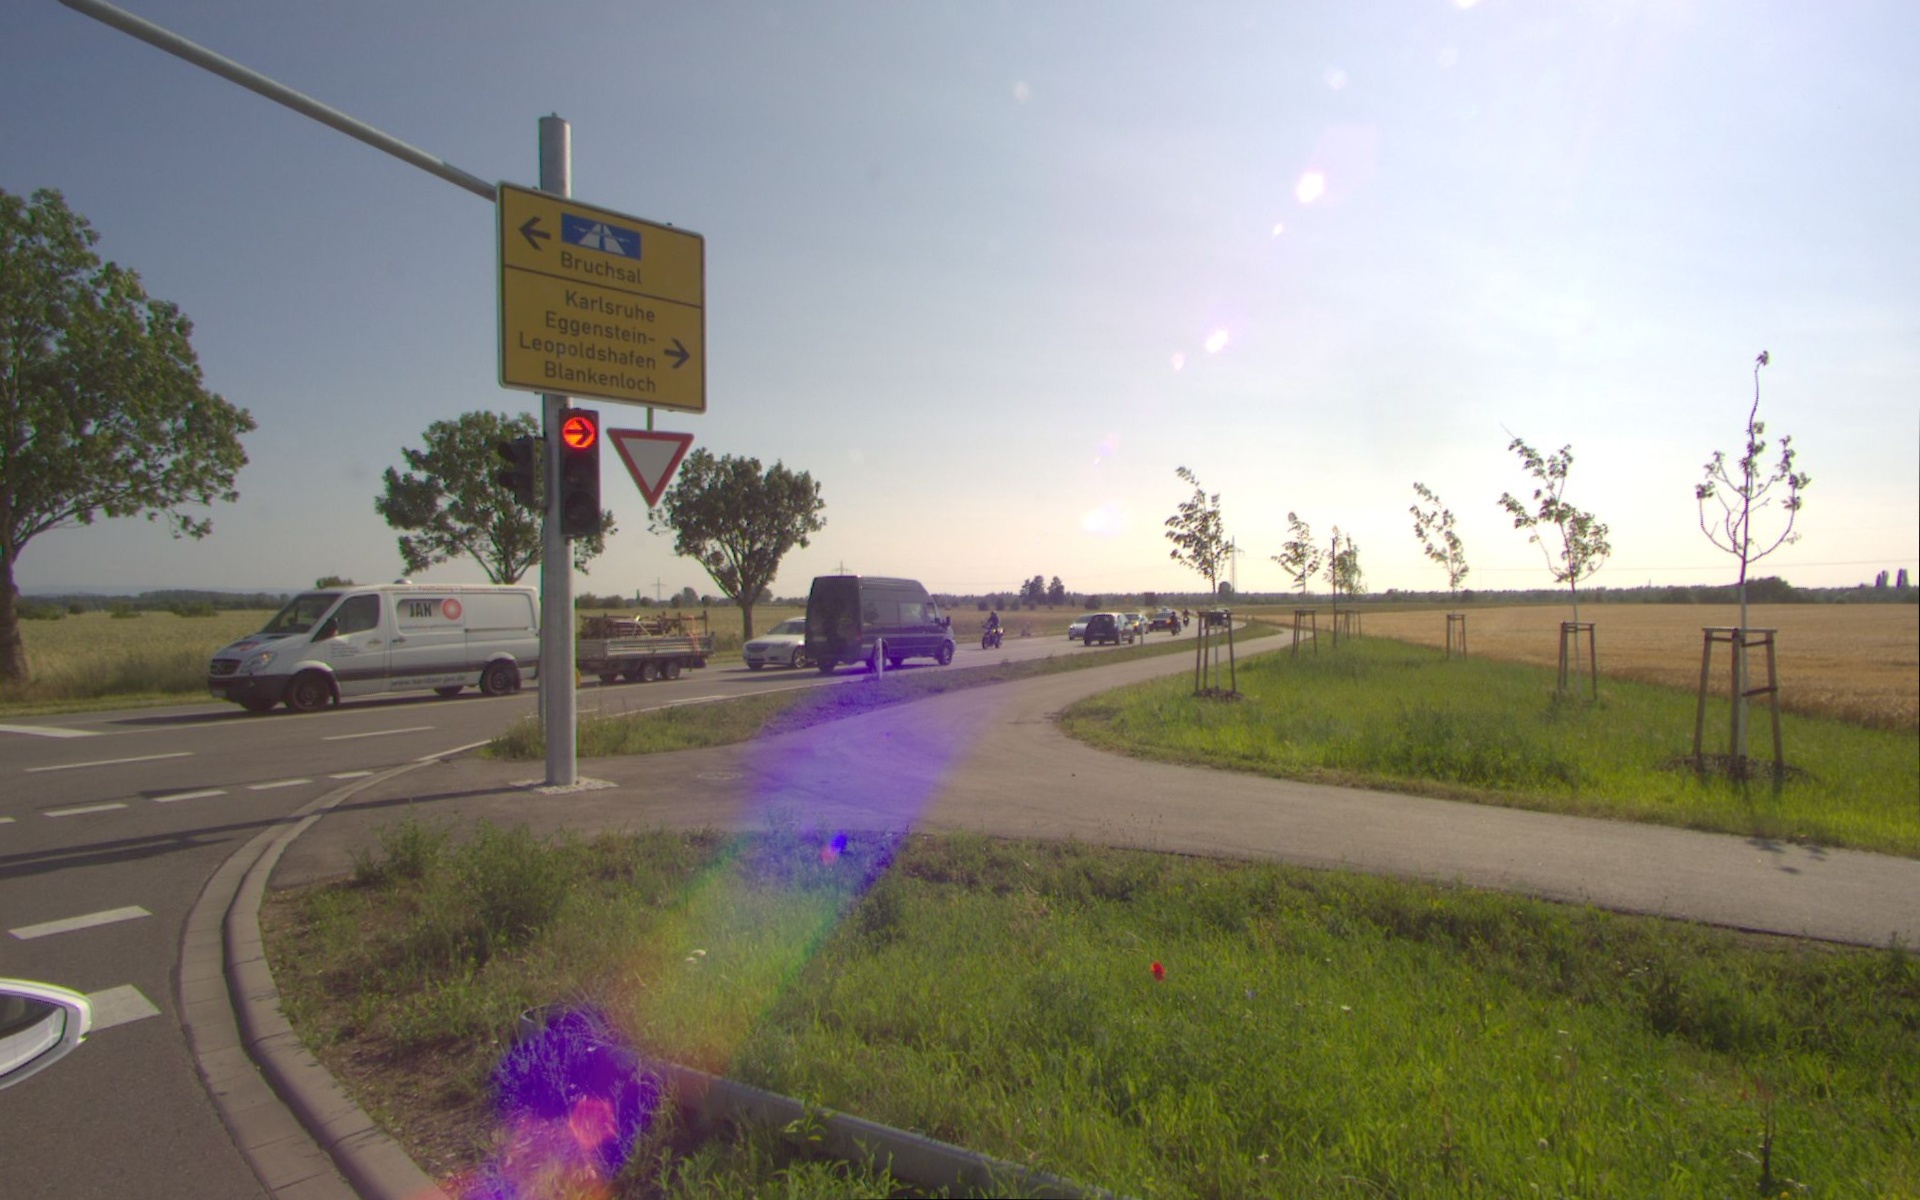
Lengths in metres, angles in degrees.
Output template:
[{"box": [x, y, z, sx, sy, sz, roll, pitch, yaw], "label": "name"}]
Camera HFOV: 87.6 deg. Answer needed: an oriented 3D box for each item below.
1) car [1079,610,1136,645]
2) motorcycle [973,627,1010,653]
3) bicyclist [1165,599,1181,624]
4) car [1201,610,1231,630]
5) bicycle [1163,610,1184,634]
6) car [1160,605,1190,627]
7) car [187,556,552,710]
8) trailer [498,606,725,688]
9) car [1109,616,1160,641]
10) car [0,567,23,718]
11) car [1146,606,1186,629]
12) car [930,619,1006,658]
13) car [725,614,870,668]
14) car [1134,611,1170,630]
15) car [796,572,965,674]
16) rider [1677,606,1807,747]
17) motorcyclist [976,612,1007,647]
[{"box": [6.868, 1.244, 46.405, 1.700, 1.476, 3.727, 0, 1, 24], "label": "car"}, {"box": [1.398, 1.762, 44.117, 0.836, 1.133, 2.140, 0, -2, 26], "label": "motorcycle"}, {"box": [13.299, 0.704, 62.513, 0.745, 1.508, 0.808, -1, -2, 26], "label": "bicyclist"}, {"box": [21.177, 1.620, 82.642, 1.888, 1.539, 4.678, 1, 0, 20], "label": "car"}, {"box": [13.390, 1.379, 62.679, 0.720, 1.415, 2.490, -1, 0, 25], "label": "bicycle"}, {"box": [19.661, 1.482, 91.495, 1.966, 1.950, 3.991, 1, -1, 22], "label": "car"}, {"box": [-11.131, 0.628, 19.505, 1.970, 2.524, 5.950, -1, -2, 30], "label": "car"}, {"box": [-8.310, 1.052, 24.443, 1.925, 1.776, 5.254, -1, -1, 30], "label": "trailer"}, {"box": [11.823, 1.945, 67.623, 1.990, 1.609, 4.868, -2, -2, 27], "label": "car"}, {"box": [-18.727, 0.673, 15.377, 2.355, 2.610, 5.892, -1, -2, 26], "label": "car"}, {"box": [15.929, 1.382, 77.119, 1.967, 1.712, 4.871, -1, -2, 25], "label": "car"}, {"box": [0.378, 1.590, 41.764, 1.664, 1.516, 3.987, -2, -1, 25], "label": "car"}, {"box": [-4.899, 1.275, 30.950, 1.969, 1.529, 4.868, -2, -3, 27], "label": "car"}, {"box": [15.932, 1.721, 83.102, 1.968, 1.521, 3.987, 0, -1, 26], "label": "car"}, {"box": [-2.136, 0.612, 28.908, 2.003, 2.657, 5.724, 0, 0, 30], "label": "car"}, {"box": [9.645, 0.914, 12.370, 0.973, 1.665, 0.820, 0, 1, -17], "label": "rider"}, {"box": [1.388, 1.295, 44.081, 1.013, 1.479, 1.067, 0, -1, 27], "label": "motorcyclist"}]
